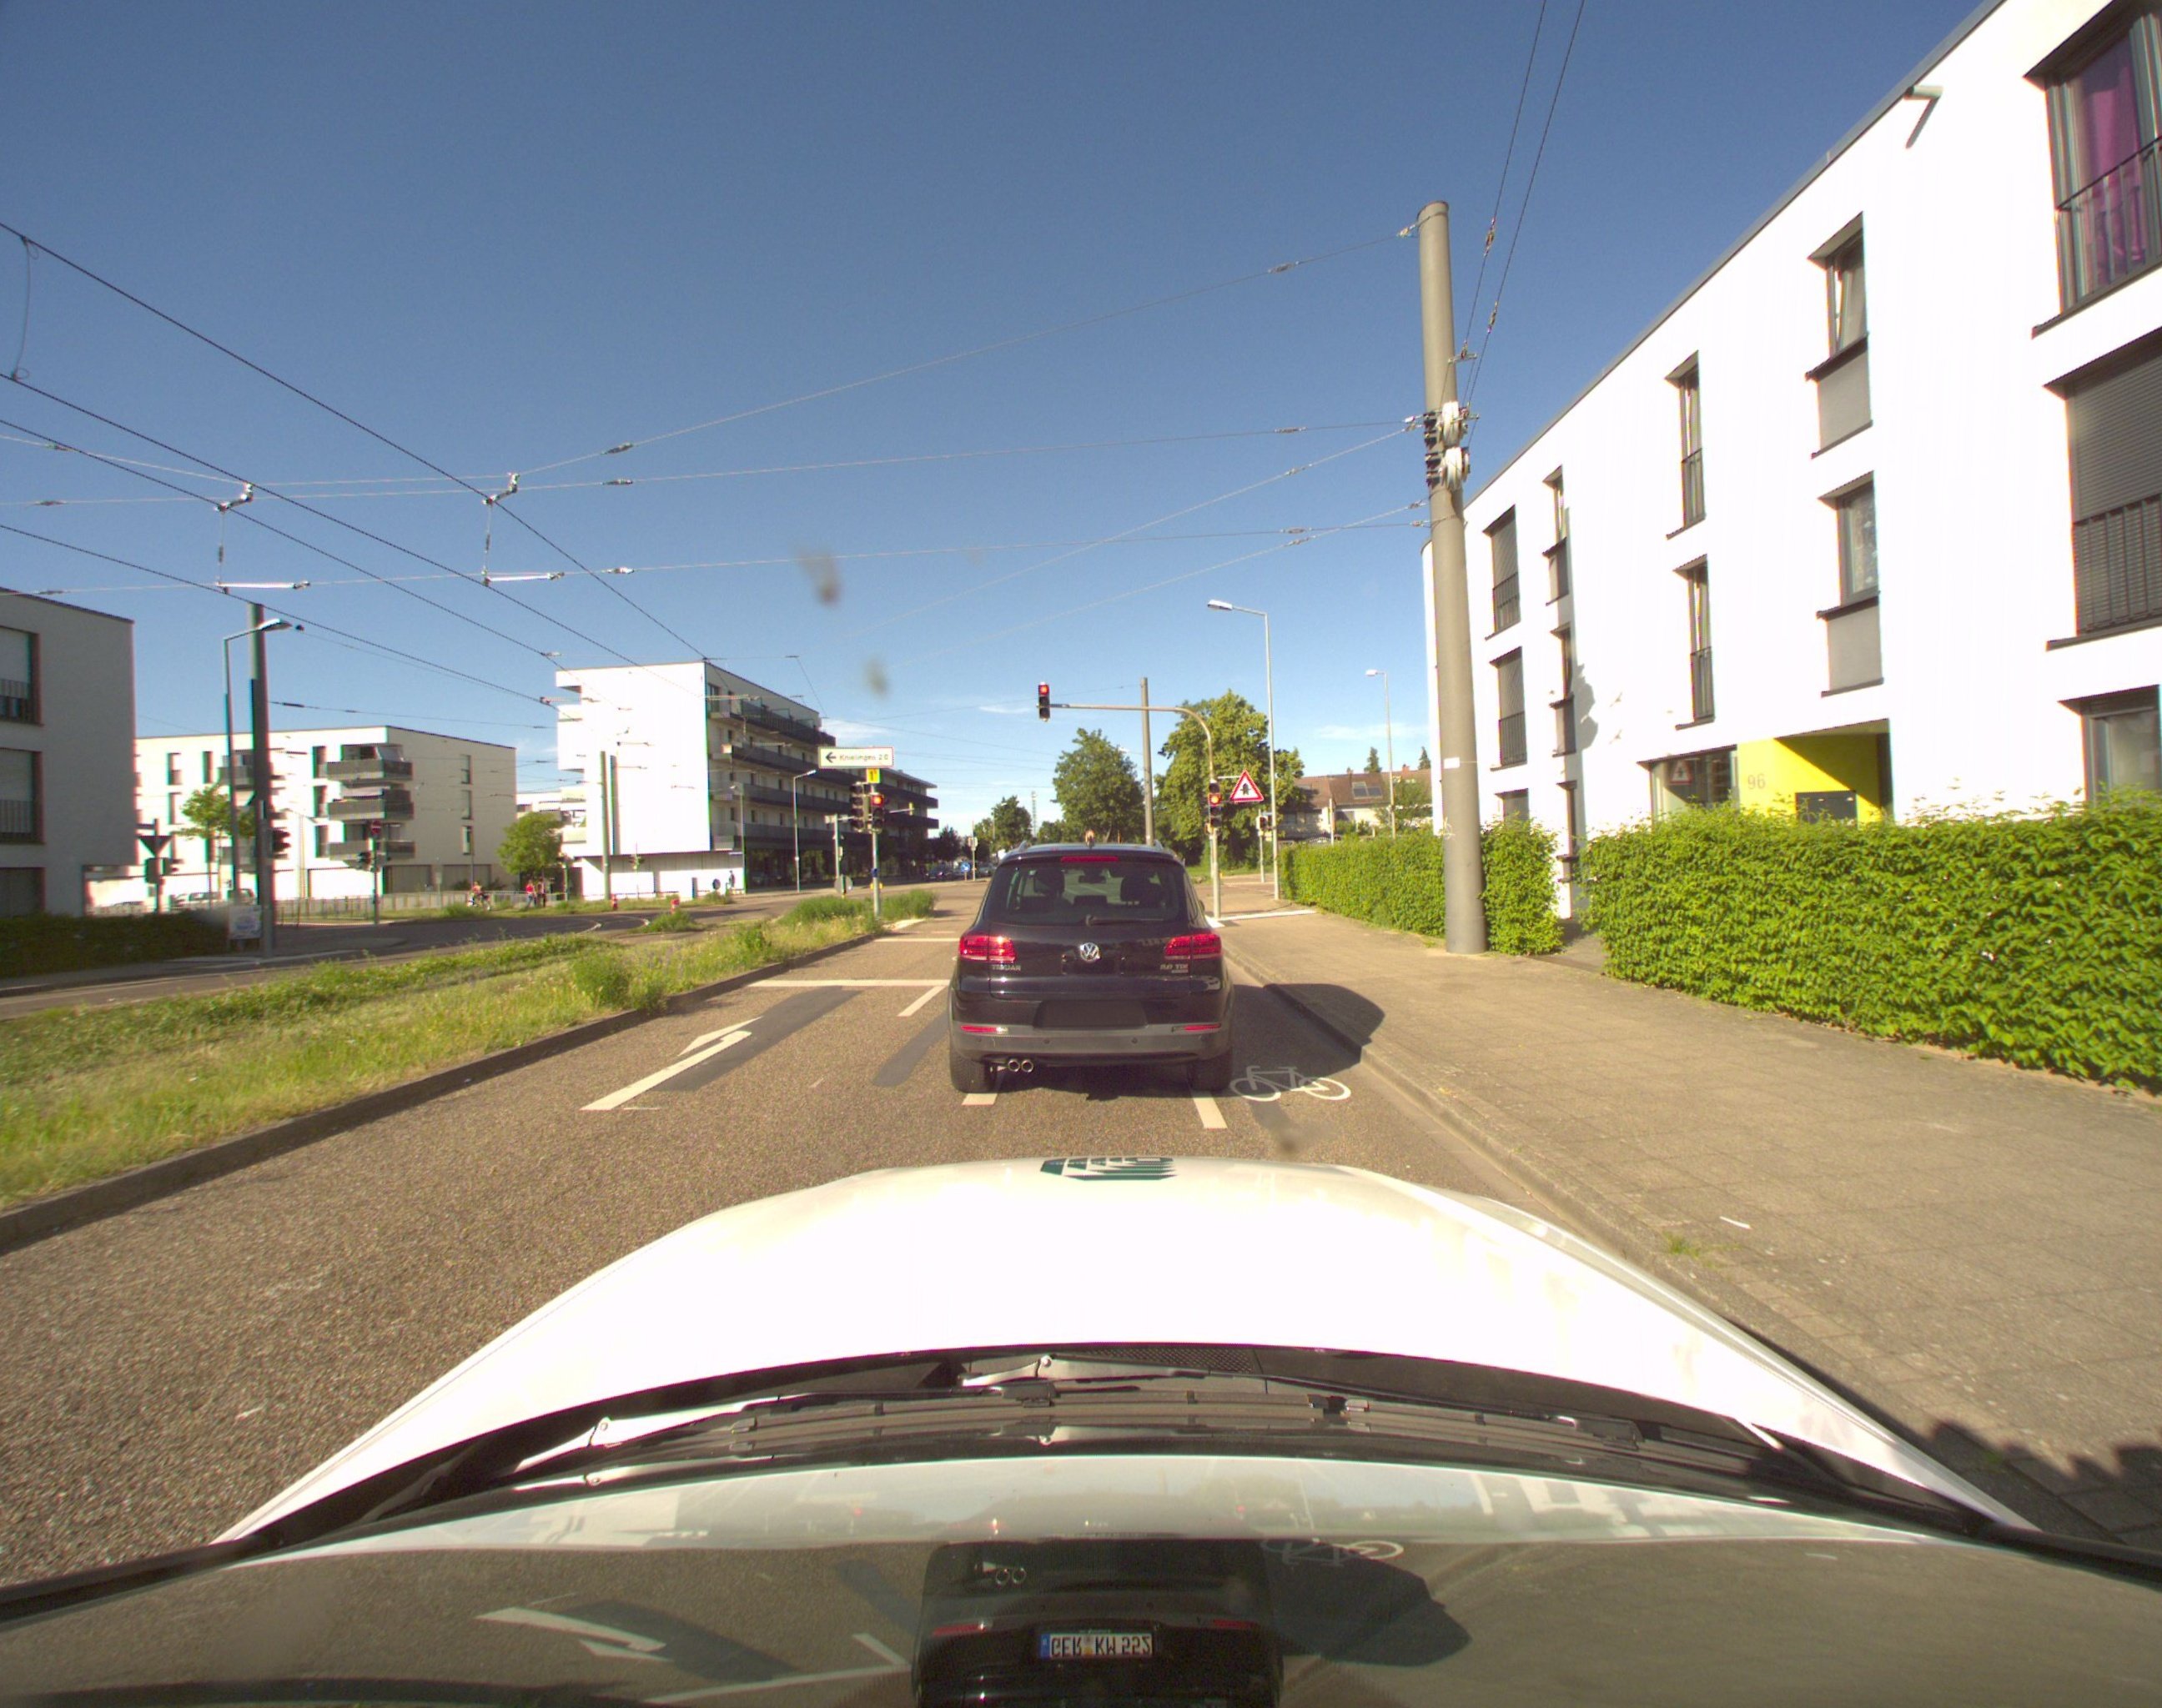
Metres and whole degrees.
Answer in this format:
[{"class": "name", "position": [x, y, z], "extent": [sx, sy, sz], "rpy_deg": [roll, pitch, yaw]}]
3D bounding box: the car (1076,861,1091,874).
[{"class": "car", "position": [0.355, 1.982, 117.067], "extent": [1.985, 1.836, 4.004], "rpy_deg": [0, -1, 4]}]

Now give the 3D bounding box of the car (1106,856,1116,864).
[{"class": "car", "position": [6.109, 1.247, 165.918], "extent": [1.987, 1.684, 4.000], "rpy_deg": [0, -1, 0]}]

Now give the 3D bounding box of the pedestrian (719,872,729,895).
[{"class": "pedestrian", "position": [-24.597, 2.030, 56.081], "extent": [0.440, 1.503, 0.517], "rpy_deg": [0, -1, -4]}]

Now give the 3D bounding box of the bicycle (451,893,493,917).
[{"class": "bicycle", "position": [-30.904, 2.582, 41.369], "extent": [0.818, 1.124, 1.858], "rpy_deg": [0, -1, -4]}]

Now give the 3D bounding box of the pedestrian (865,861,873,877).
[{"class": "pedestrian", "position": [-20.308, 1.454, 78.060], "extent": [0.641, 1.509, 0.595], "rpy_deg": [0, -1, -4]}]

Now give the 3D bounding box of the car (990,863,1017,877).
[{"class": "car", "position": [-8.728, 1.768, 92.357], "extent": [1.981, 1.574, 4.350], "rpy_deg": [-1, -1, 9]}]

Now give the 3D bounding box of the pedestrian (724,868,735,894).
[{"class": "pedestrian", "position": [-24.576, 1.889, 56.982], "extent": [0.542, 1.744, 0.517], "rpy_deg": [0, -1, -4]}]

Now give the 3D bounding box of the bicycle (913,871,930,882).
[{"class": "bicycle", "position": [-14.792, 2.052, 75.637], "extent": [0.766, 0.989, 2.438], "rpy_deg": [-1, -1, 9]}]

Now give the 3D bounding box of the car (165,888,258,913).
[{"class": "car", "position": [-58.934, 3.161, 55.223], "extent": [4.305, 1.574, 2.002], "rpy_deg": [0, -1, 4]}]

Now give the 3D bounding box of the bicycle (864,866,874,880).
[{"class": "bicycle", "position": [-20.310, 1.810, 78.072], "extent": [0.629, 1.332, 1.910], "rpy_deg": [0, -1, -3]}]

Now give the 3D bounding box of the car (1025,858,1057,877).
[{"class": "car", "position": [-3.433, 1.130, 70.782], "extent": [1.852, 1.485, 4.121], "rpy_deg": [-3, 0, 9]}]

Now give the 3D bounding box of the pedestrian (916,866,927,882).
[{"class": "pedestrian", "position": [-14.785, 1.818, 75.636], "extent": [0.707, 1.474, 0.956], "rpy_deg": [-1, -1, 9]}]

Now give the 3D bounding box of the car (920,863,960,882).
[{"class": "car", "position": [-12.413, 1.629, 71.921], "extent": [1.980, 1.574, 4.353], "rpy_deg": [-1, -1, 11]}]

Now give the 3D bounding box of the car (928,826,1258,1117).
[{"class": "car", "position": [0.130, 0.684, 6.624], "extent": [1.862, 1.637, 4.001], "rpy_deg": [0, -1, 2]}]

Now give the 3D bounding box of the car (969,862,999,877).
[{"class": "car", "position": [-10.127, 1.625, 85.525], "extent": [1.981, 1.574, 4.350], "rpy_deg": [-1, -1, 9]}]

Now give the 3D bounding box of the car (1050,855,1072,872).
[{"class": "car", "position": [-2.151, 1.054, 88.492], "extent": [1.855, 1.720, 3.692], "rpy_deg": [-2, 0, 5]}]

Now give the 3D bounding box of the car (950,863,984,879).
[{"class": "car", "position": [-11.067, 1.643, 79.408], "extent": [1.981, 1.574, 4.350], "rpy_deg": [-1, -1, 9]}]

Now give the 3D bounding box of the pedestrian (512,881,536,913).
[{"class": "pedestrian", "position": [-29.514, 2.271, 43.180], "extent": [0.770, 1.605, 0.741], "rpy_deg": [0, -1, -5]}]

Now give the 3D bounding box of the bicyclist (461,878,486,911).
[{"class": "bicyclist", "position": [-30.904, 2.049, 41.413], "extent": [0.781, 1.614, 0.640], "rpy_deg": [0, -1, -5]}]

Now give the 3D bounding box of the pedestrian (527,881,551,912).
[{"class": "pedestrian", "position": [-28.711, 2.265, 43.155], "extent": [0.770, 1.605, 0.741], "rpy_deg": [0, -1, -5]}]
